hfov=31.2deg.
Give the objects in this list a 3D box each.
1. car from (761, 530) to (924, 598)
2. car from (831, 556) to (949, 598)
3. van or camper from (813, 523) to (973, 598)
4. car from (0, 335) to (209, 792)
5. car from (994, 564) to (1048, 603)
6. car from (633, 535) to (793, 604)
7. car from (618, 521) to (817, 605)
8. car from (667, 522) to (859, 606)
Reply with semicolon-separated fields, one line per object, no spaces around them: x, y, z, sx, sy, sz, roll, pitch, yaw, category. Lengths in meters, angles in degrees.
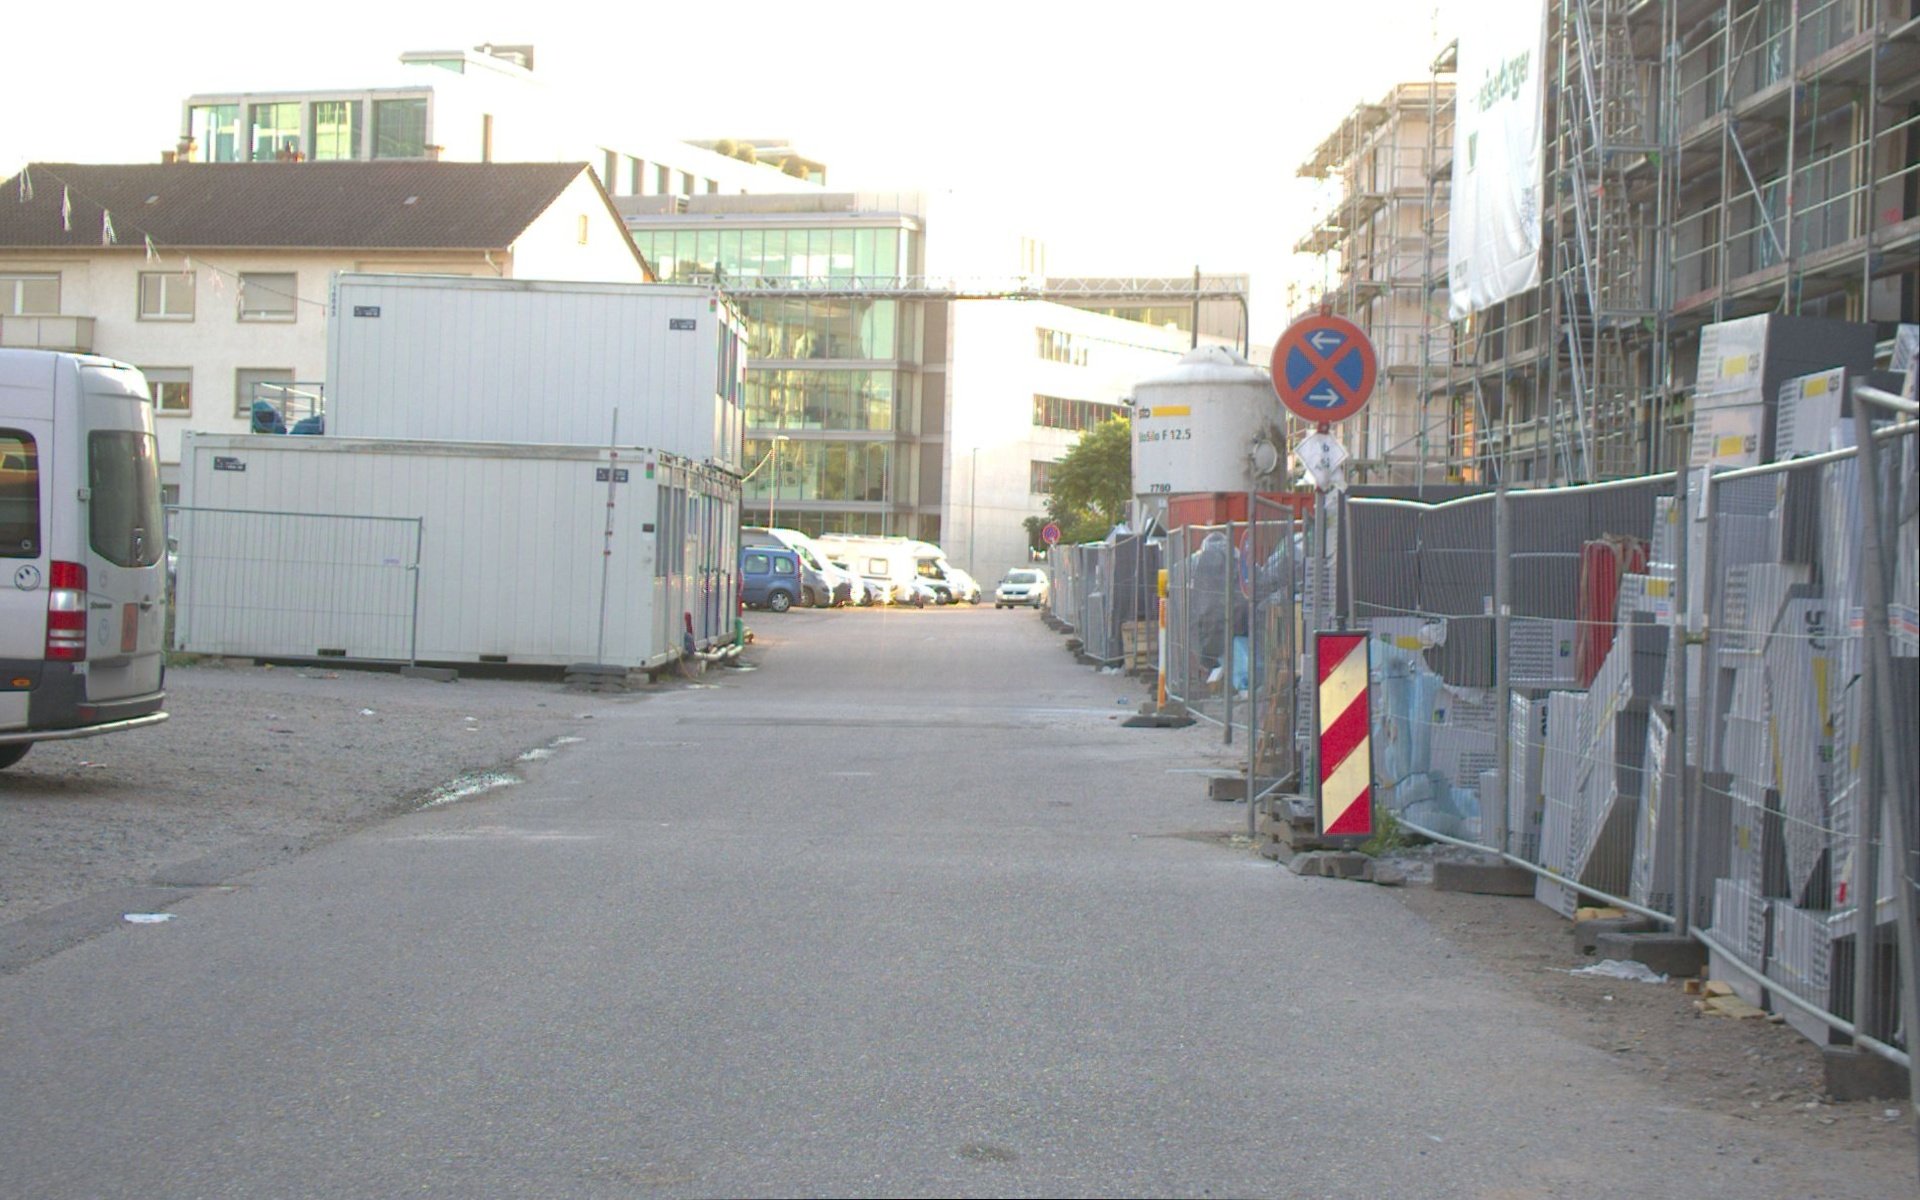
-4.497;-1.363;131.777;5.926;2.482;1.999;1;0;12;car
-2.838;-0.928;139.872;4.505;1.642;1.999;1;0;9;car
-2.827;-1.668;145.615;6.336;2.969;2.291;2;0;13;van or camper
-7.762;-0.315;21.089;5.689;2.617;2.221;2;0;2;car
2.480;-0.646;138.504;1.665;1.524;3.909;1;0;8;car
-7.096;-0.874;98.749;4.503;1.862;2.000;1;0;-5;car
-7.925;-1.203;112.799;6.328;2.642;2.000;1;0;1;car
-6.648;-1.211;116.553;6.328;2.732;2.000;1;0;1;car
